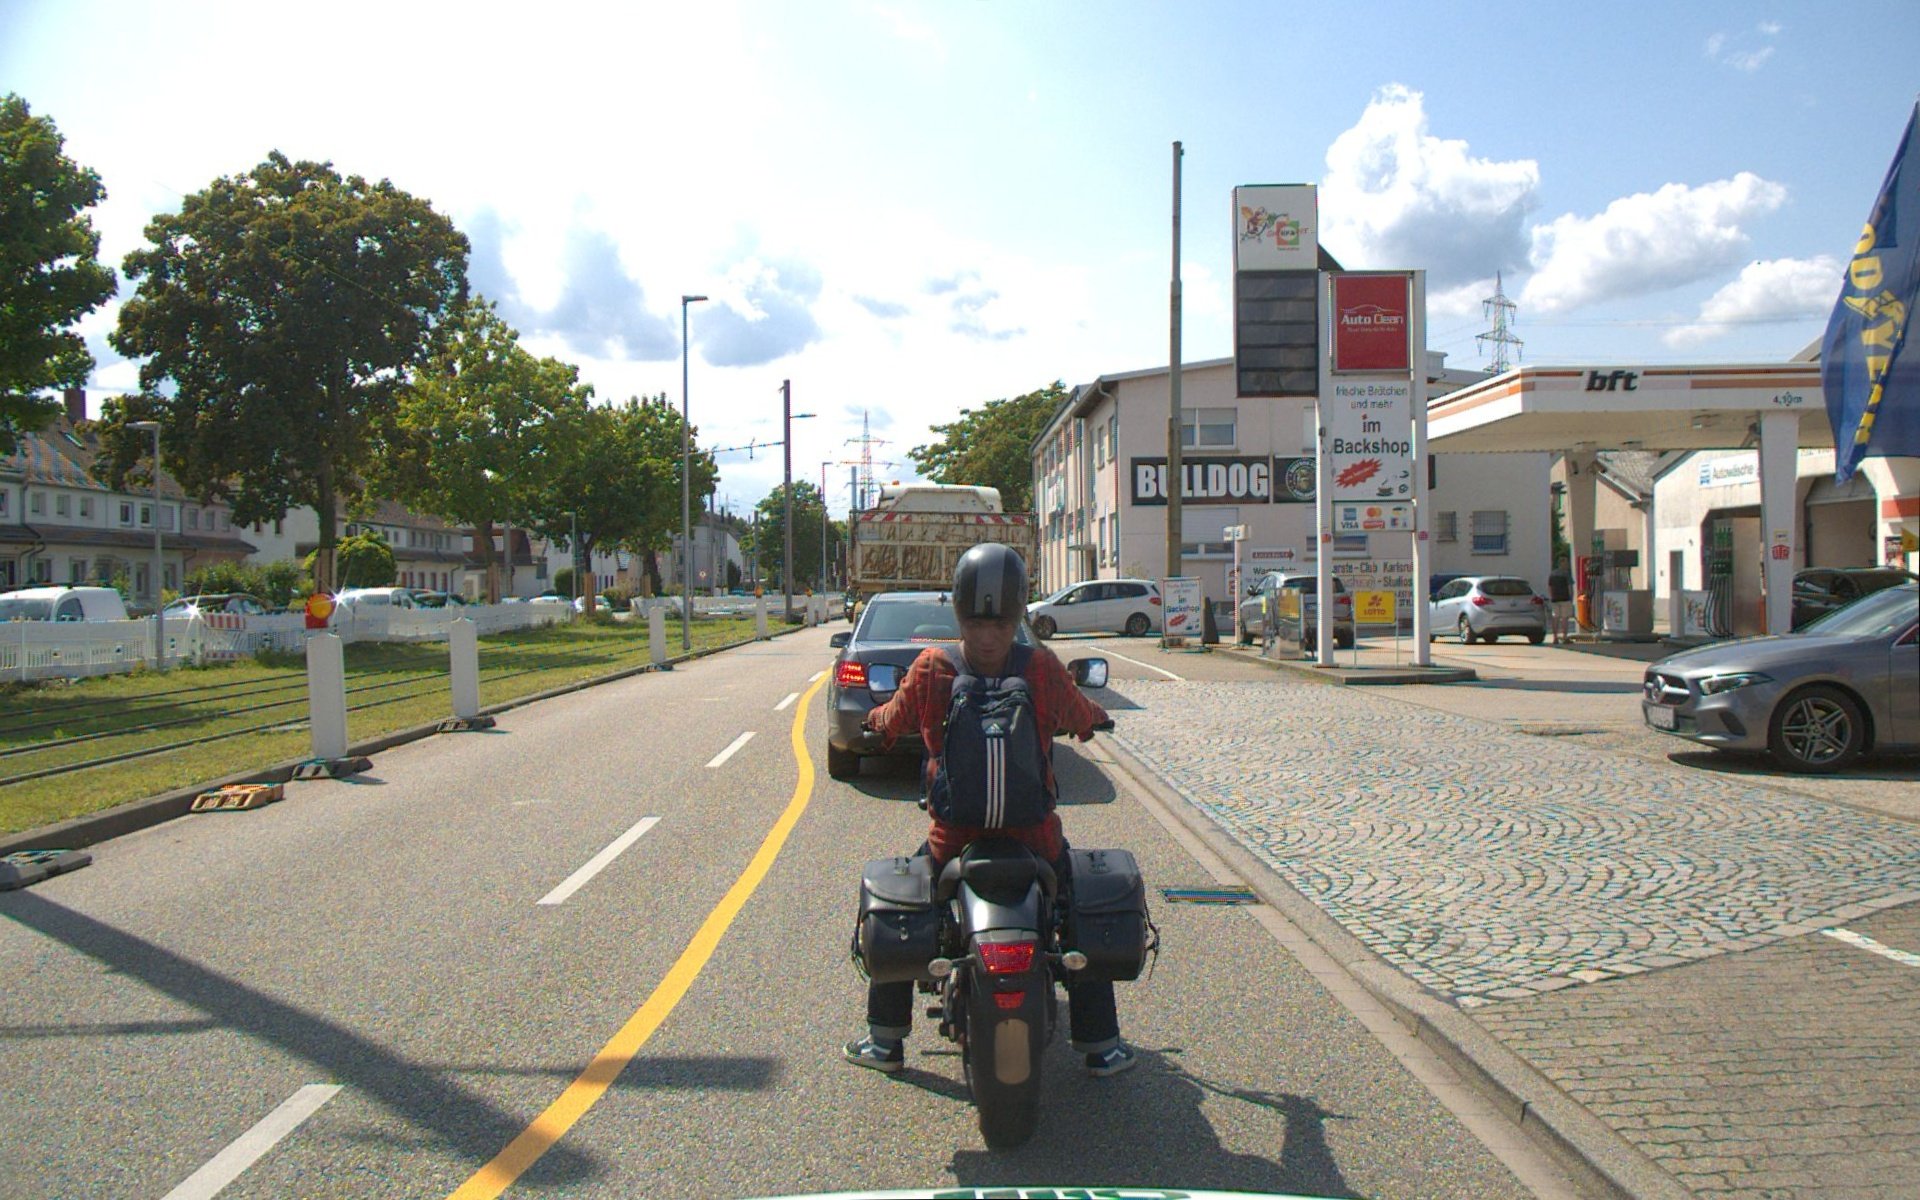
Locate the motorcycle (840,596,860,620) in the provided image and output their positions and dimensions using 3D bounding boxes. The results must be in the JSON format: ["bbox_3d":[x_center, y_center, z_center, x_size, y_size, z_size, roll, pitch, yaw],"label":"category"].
[{"bbox_3d":[-4.974,0.356,74.710,0.851,1.039,2.243,-1,0,-3],"label":"motorcycle"}]

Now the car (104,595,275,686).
[{"bbox_3d":[-16.676,0.826,36.025,1.740,1.805,4.227,-1,0,-1],"label":"car"}]

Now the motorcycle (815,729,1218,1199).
[{"bbox_3d":[0.120,0.996,5.322,0.959,0.913,2.653,-1,0,-1],"label":"motorcycle"}]

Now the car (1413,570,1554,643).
[{"bbox_3d":[11.719,0.119,37.265,1.770,1.529,3.831,-1,0,-3],"label":"car"}]

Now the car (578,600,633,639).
[{"bbox_3d":[-17.057,0.908,79.684,1.740,1.753,4.127,-1,0,-1],"label":"car"}]

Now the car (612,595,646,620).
[{"bbox_3d":[-24.965,0.545,124.851,1.740,1.753,4.127,-1,0,-1],"label":"car"}]

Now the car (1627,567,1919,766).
[{"bbox_3d":[7.582,0.460,12.801,4.181,1.440,1.675,-1,0,7],"label":"car"}]

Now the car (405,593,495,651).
[{"bbox_3d":[-16.974,0.698,55.260,1.740,1.837,4.127,-1,0,-1],"label":"car"}]

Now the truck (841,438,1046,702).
[{"bbox_3d":[-0.266,-0.423,25.364,2.585,3.354,8.055,-1,0,-1],"label":"truck"}]

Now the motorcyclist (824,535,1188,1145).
[{"bbox_3d":[0.118,0.642,5.017,0.959,1.630,1.087,-1,0,-1],"label":"motorcyclist"}]

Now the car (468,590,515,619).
[{"bbox_3d":[-29.427,0.273,103.951,1.740,1.753,4.127,-1,0,-1],"label":"car"}]

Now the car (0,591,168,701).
[{"bbox_3d":[-16.468,0.784,30.388,1.740,1.853,4.363,-1,0,-1],"label":"car"}]

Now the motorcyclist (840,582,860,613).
[{"bbox_3d":[-4.972,-0.119,74.643,0.851,1.402,0.800,-1,0,-4],"label":"motorcyclist"}]

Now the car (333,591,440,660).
[{"bbox_3d":[-16.942,0.714,49.081,1.740,1.900,4.127,-1,0,-1],"label":"car"}]

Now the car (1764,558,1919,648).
[{"bbox_3d":[16.615,0.025,30.319,1.770,1.529,3.832,-1,0,-3],"label":"car"}]

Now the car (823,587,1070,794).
[{"bbox_3d":[-0.127,0.651,14.131,1.786,1.478,3.999,1,0,-1],"label":"car"}]

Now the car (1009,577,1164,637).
[{"bbox_3d":[3.578,0.183,47.113,4.152,1.570,1.669,-1,0,-9],"label":"car"}]

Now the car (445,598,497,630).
[{"bbox_3d":[-28.301,0.776,95.834,1.740,1.753,4.127,-1,0,-1],"label":"car"}]

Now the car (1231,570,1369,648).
[{"bbox_3d":[7.455,0.175,36.629,1.636,1.589,4.236,-1,0,-8],"label":"car"}]

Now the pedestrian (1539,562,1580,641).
[{"bbox_3d":[12.951,0.030,35.711,0.696,1.685,0.546,-1,0,35],"label":"pedestrian"}]

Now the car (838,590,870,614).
[{"bbox_3d":[-6.946,0.109,108.620,1.786,1.478,4.323,-2,0,-1],"label":"car"}]
